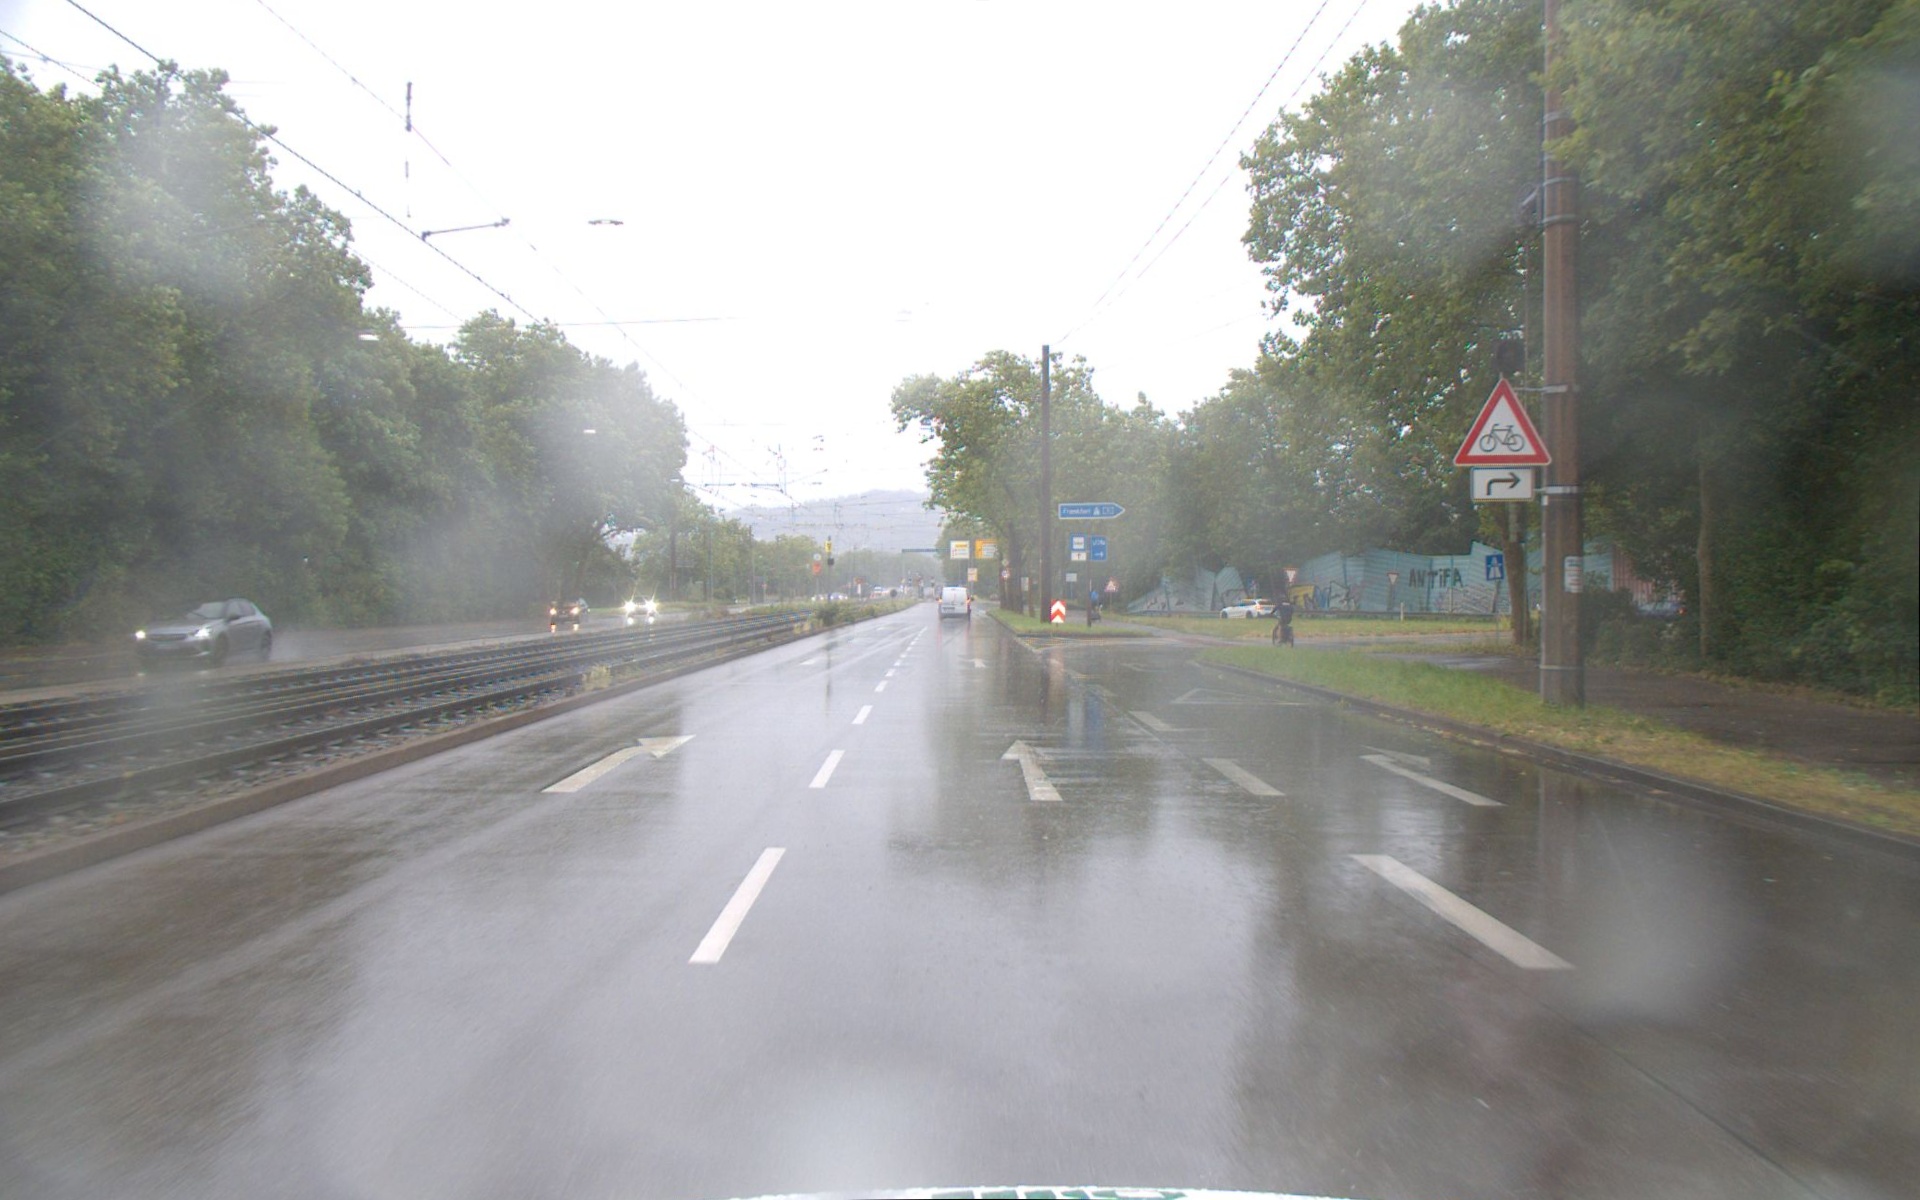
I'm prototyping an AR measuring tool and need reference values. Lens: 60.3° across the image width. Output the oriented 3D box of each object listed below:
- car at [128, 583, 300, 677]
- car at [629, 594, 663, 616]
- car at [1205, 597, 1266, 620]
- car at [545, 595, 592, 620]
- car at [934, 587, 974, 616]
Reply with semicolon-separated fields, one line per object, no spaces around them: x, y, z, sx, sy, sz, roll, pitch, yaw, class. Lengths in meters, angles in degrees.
-16.514;0.611;36.842;1.954;1.813;3.999;5;0;-1;car
-22.614;0.339;119.075;1.656;1.550;4.954;0;0;-2;car
18.723;0.566;112.666;1.924;1.563;4.430;0;0;-26;car
-21.960;0.402;92.999;1.735;1.354;4.378;0;0;-2;car
-0.328;0.089;87.968;2.035;1.445;3.999;-1;0;-1;car
